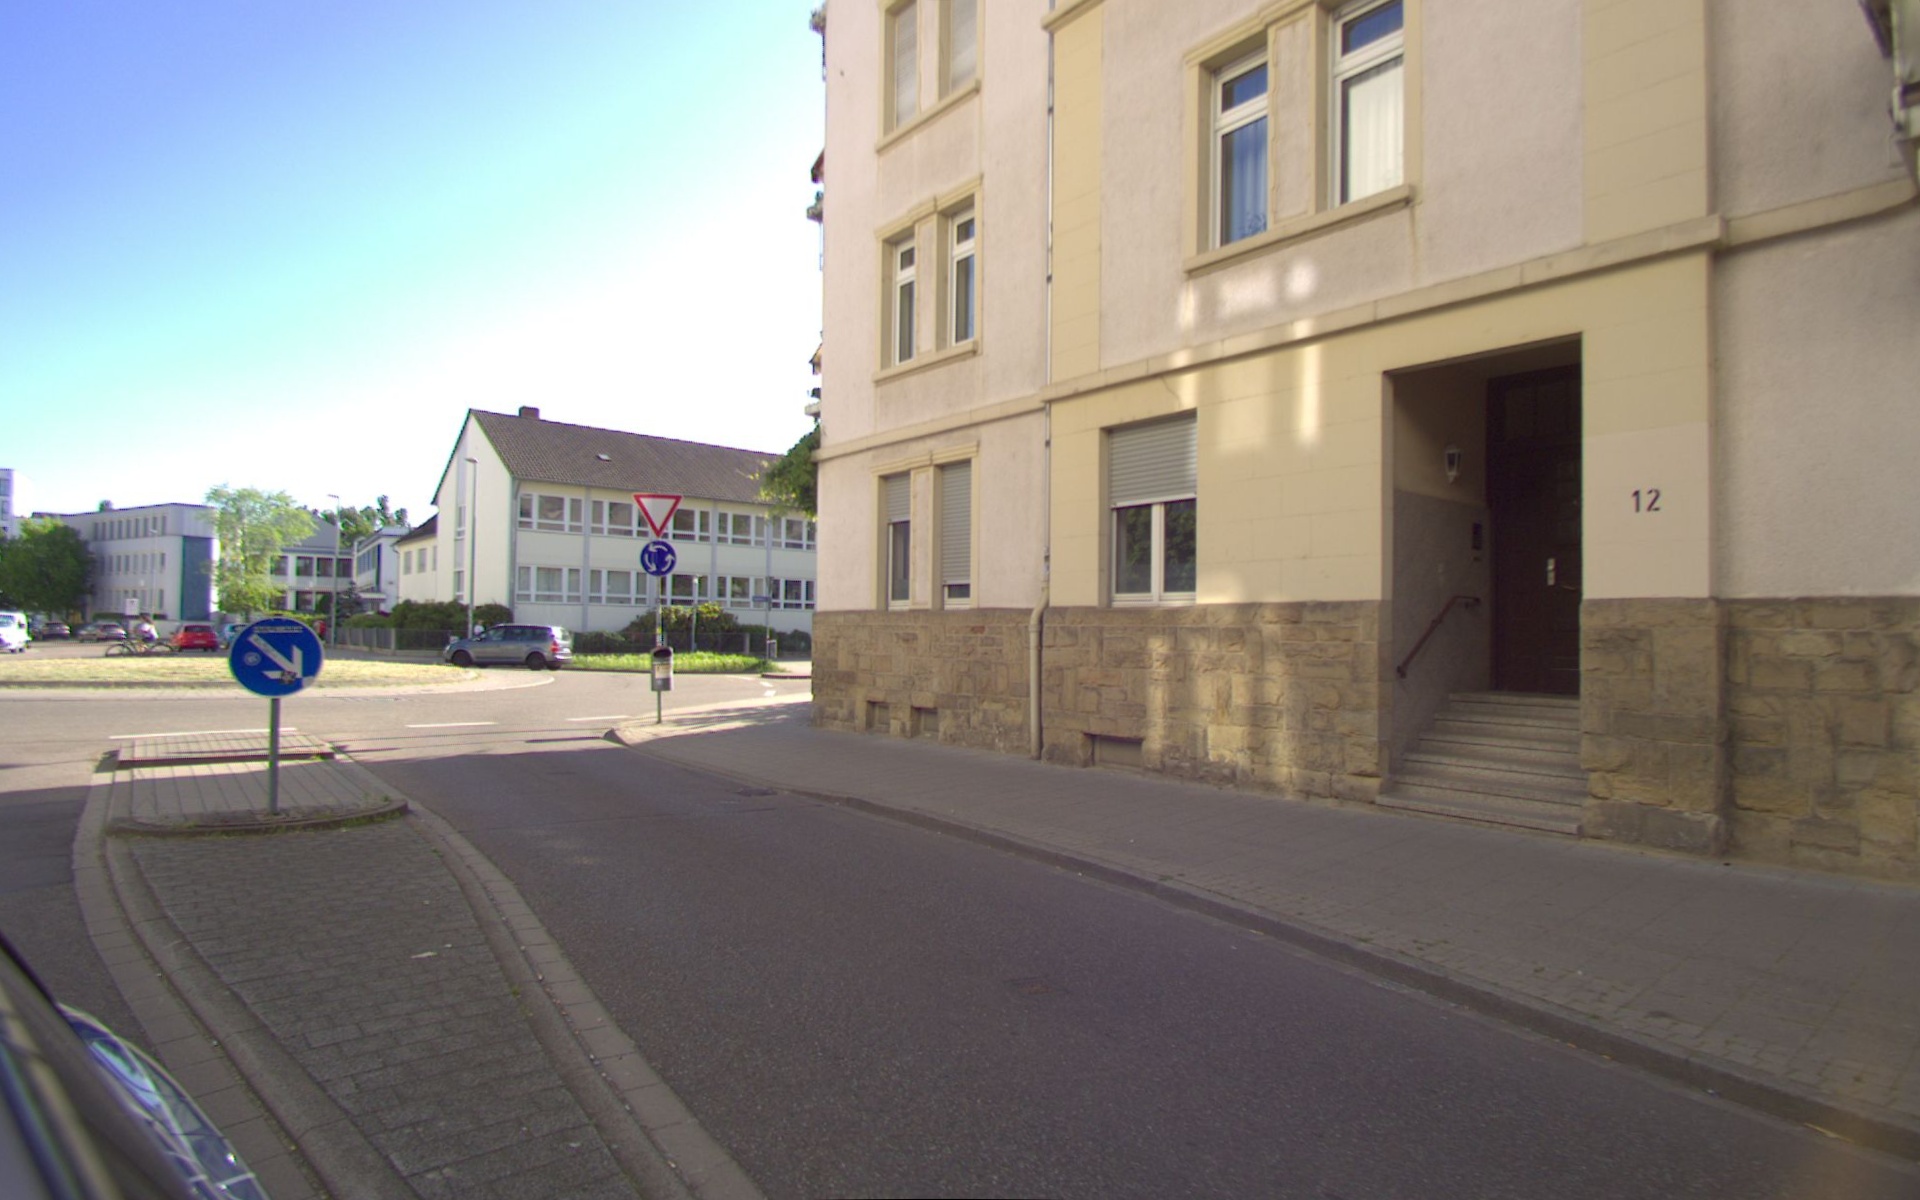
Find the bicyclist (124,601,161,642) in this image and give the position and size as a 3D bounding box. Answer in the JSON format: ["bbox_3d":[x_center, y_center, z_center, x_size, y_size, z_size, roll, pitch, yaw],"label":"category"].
[{"bbox_3d":[-26.990,0.699,33.433,0.811,1.322,0.814,0,-1,-29],"label":"bicyclist"}]

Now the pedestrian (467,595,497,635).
[{"bbox_3d":[-20.440,0.647,43.269,0.981,1.718,0.693,0,-1,-8],"label":"pedestrian"}]

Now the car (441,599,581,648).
[{"bbox_3d":[-16.035,0.847,36.305,4.211,1.709,1.881,0,-2,-1],"label":"car"}]

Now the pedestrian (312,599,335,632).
[{"bbox_3d":[-34.175,0.826,54.347,0.997,1.718,0.808,-1,-1,44],"label":"pedestrian"}]

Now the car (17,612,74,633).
[{"bbox_3d":[-74.748,1.833,82.709,4.816,1.625,2.117,-1,0,30],"label":"car"}]

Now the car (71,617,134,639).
[{"bbox_3d":[-65.987,2.126,77.848,4.814,1.625,2.118,-1,0,29],"label":"car"}]

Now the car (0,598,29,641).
[{"bbox_3d":[-47.140,0.924,49.411,1.968,2.029,4.807,5,-4,-38],"label":"car"}]

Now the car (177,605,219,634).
[{"bbox_3d":[-40.369,1.074,53.681,1.689,1.393,4.009,3,-4,-36],"label":"car"}]

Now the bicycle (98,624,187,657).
[{"bbox_3d":[-26.978,1.333,33.432,2.172,1.022,0.814,0,-1,-29],"label":"bicycle"}]

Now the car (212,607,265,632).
[{"bbox_3d":[-42.735,1.153,59.905,4.416,1.445,1.858,-1,-1,44],"label":"car"}]
